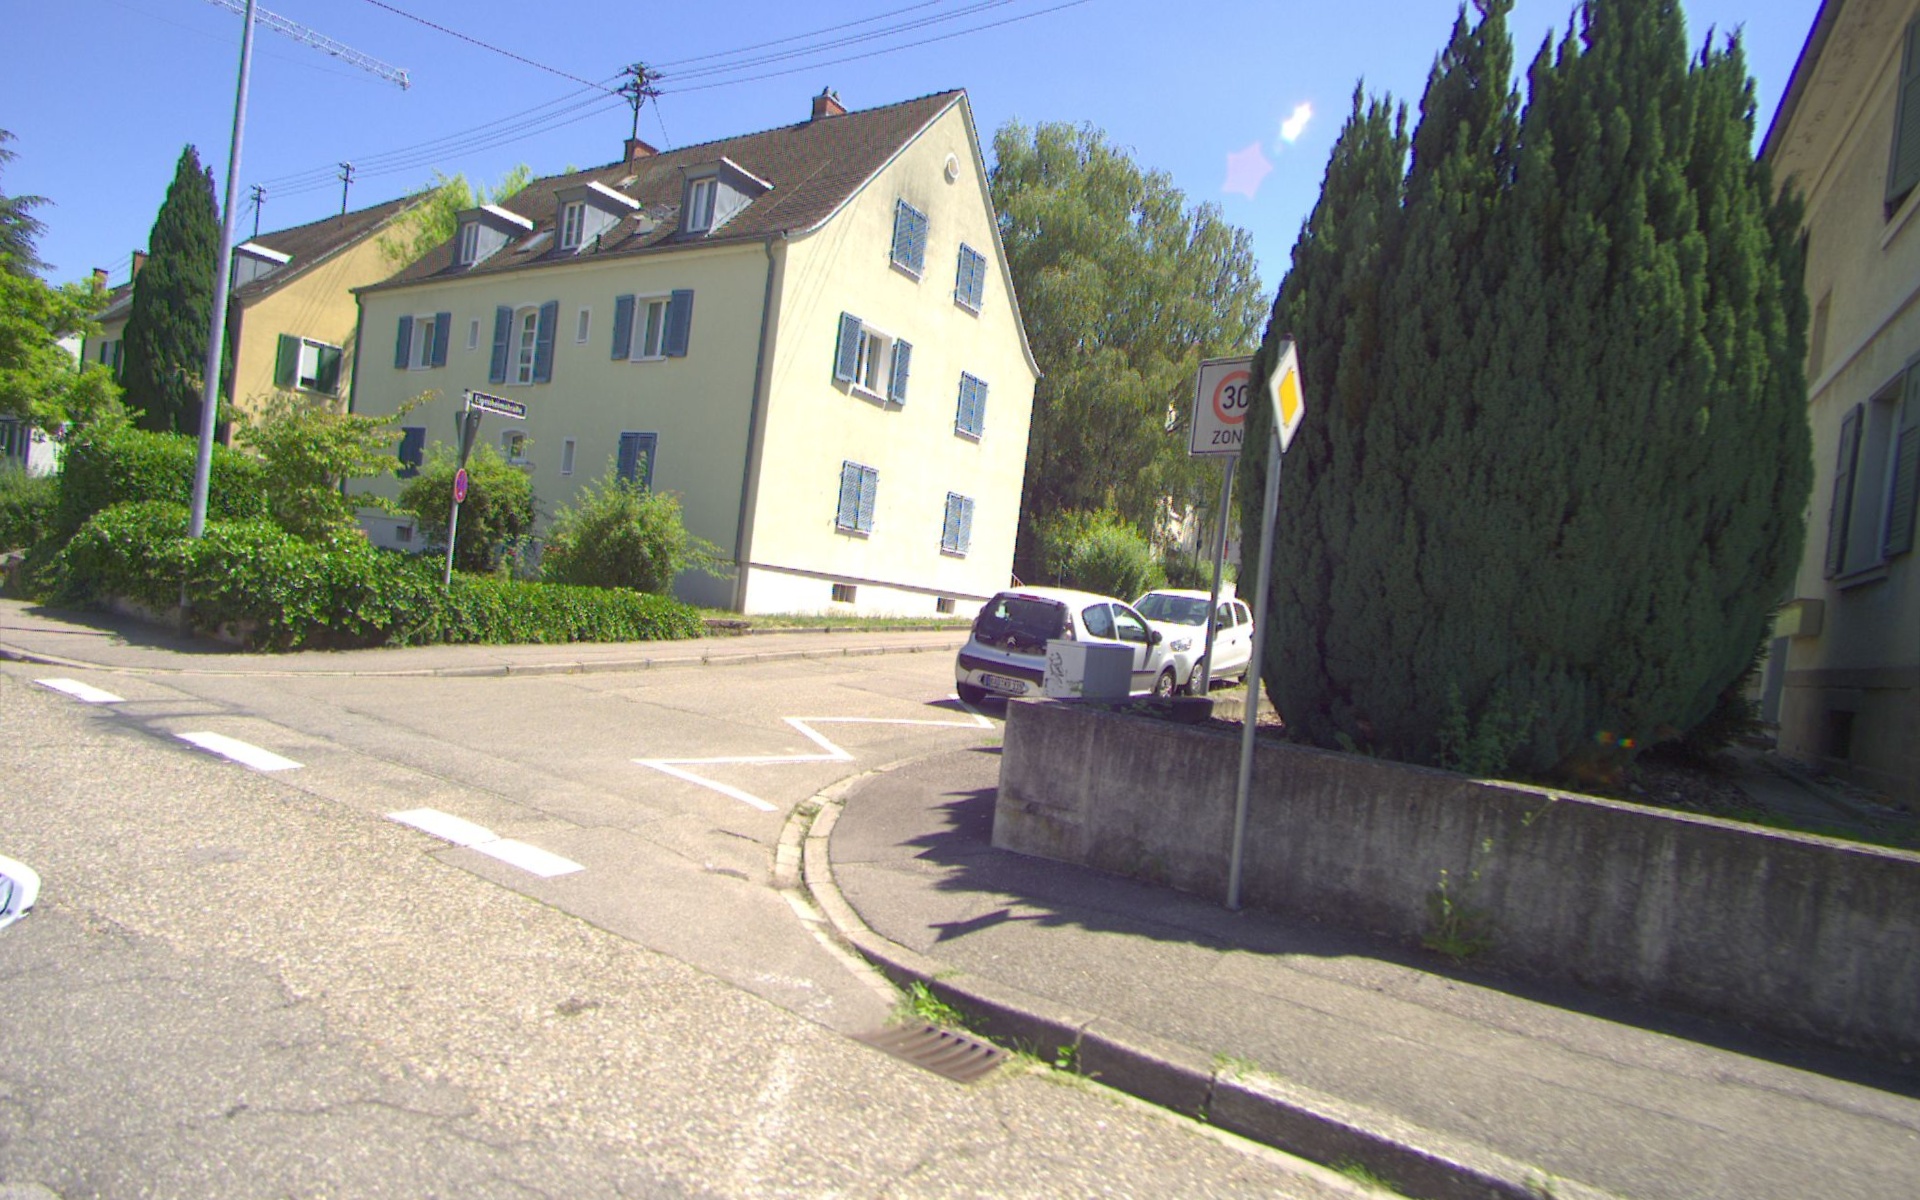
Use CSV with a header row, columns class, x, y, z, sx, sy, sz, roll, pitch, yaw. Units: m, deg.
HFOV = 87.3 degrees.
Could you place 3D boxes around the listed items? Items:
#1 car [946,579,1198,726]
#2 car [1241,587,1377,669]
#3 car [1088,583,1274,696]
class,x,y,z,sx,sy,sz,roll,pitch,yaw
car,1.520,0.567,12.736,1.588,1.473,3.399,7,4,36
car,7.639,0.551,21.826,1.672,1.473,3.819,7,4,35
car,3.626,0.549,16.122,1.587,1.473,3.497,7,4,35
